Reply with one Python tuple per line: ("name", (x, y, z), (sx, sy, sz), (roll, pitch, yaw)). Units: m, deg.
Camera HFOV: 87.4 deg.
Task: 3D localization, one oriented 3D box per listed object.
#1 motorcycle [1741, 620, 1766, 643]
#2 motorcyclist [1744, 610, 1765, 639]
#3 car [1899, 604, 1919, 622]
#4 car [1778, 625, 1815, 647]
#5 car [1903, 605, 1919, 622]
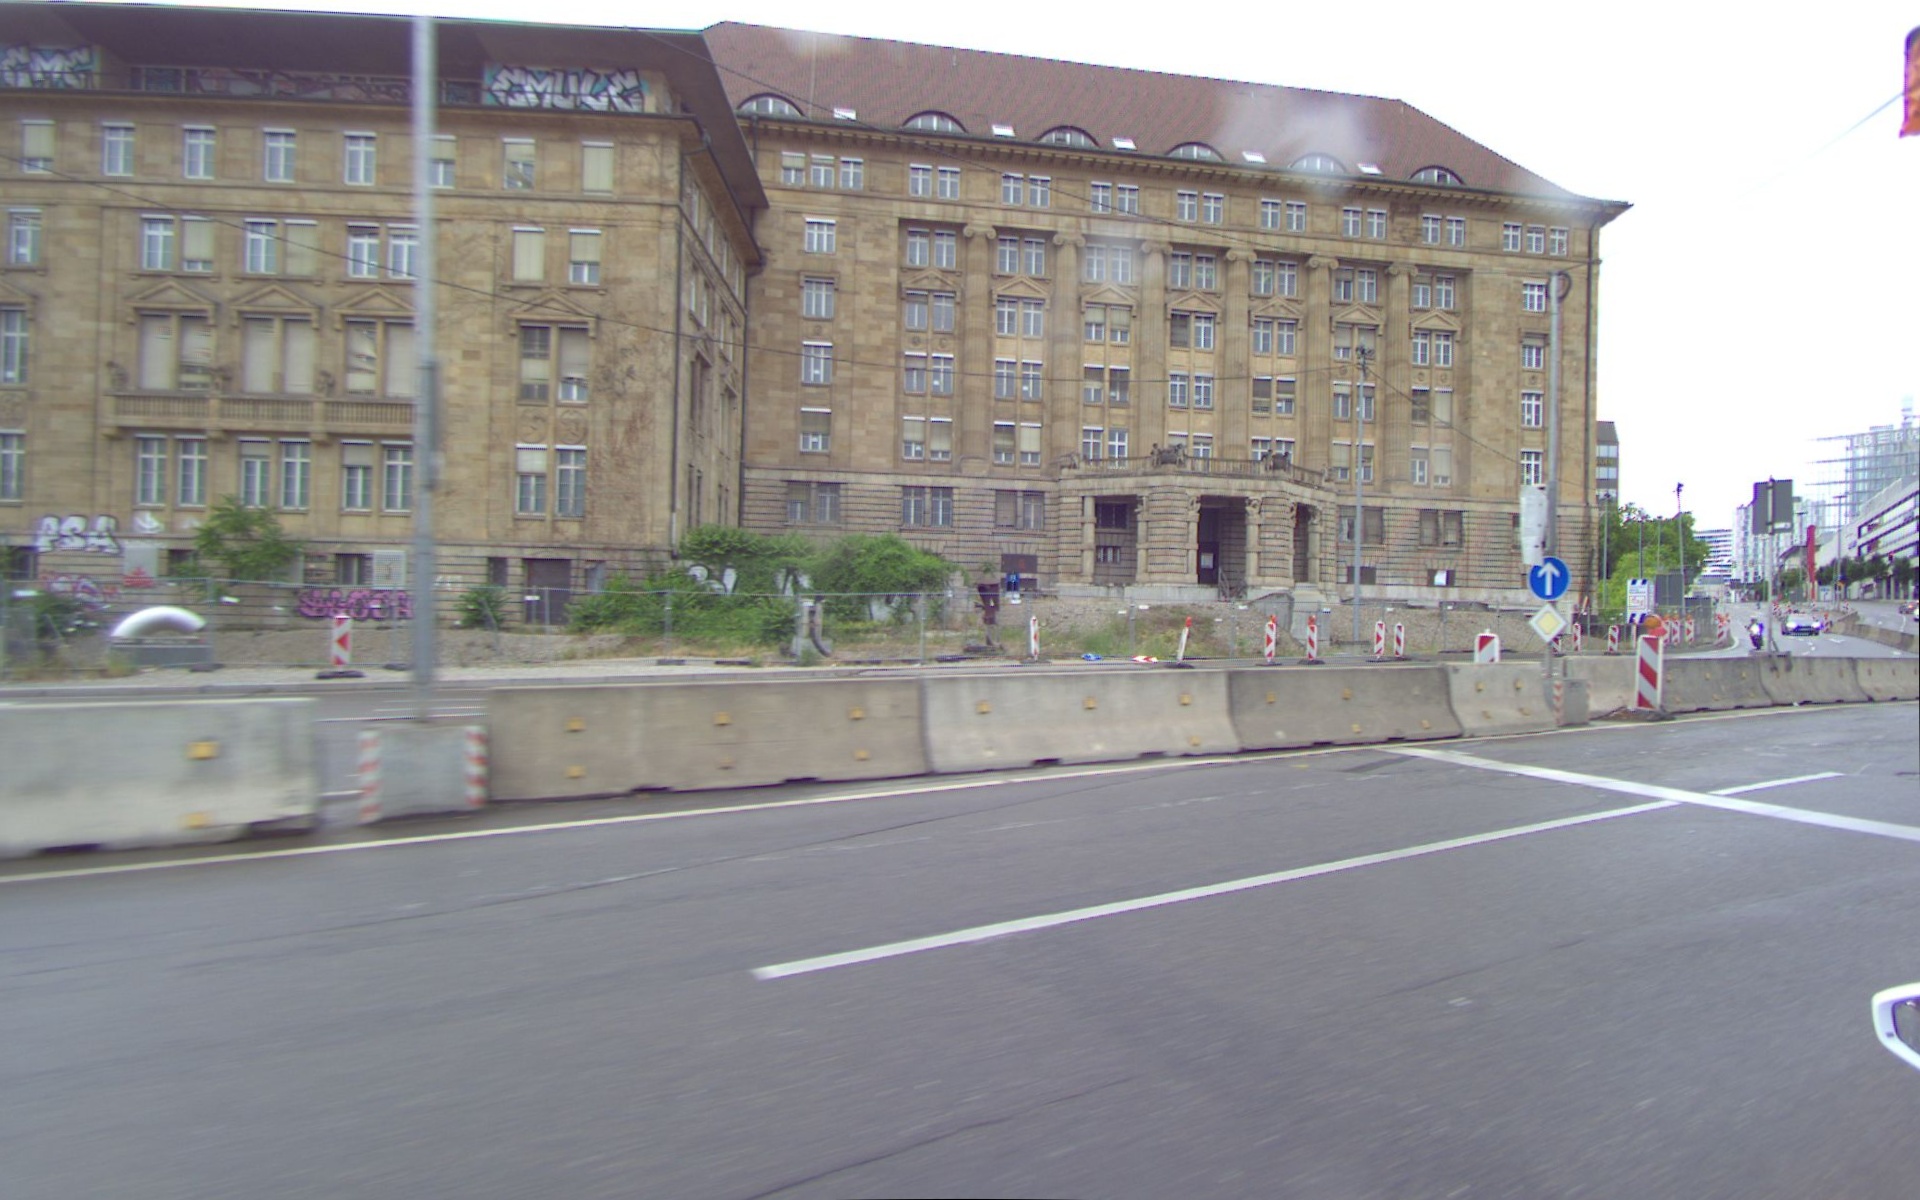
("motorcycle", (41.188, 1.621, 52.135), (0.859, 1.164, 2.143), (1, -1, 42))
("motorcyclist", (41.325, 1.269, 52.239), (0.789, 1.470, 0.821), (1, -1, 42))
("car", (101.961, 1.393, 107.478), (4.238, 1.828, 1.973), (1, 0, -45))
("car", (59.038, 2.525, 70.968), (1.580, 1.369, 3.744), (2, -3, 34))
("car", (89.707, 1.304, 93.812), (1.717, 1.526, 3.743), (1, -1, 34))
